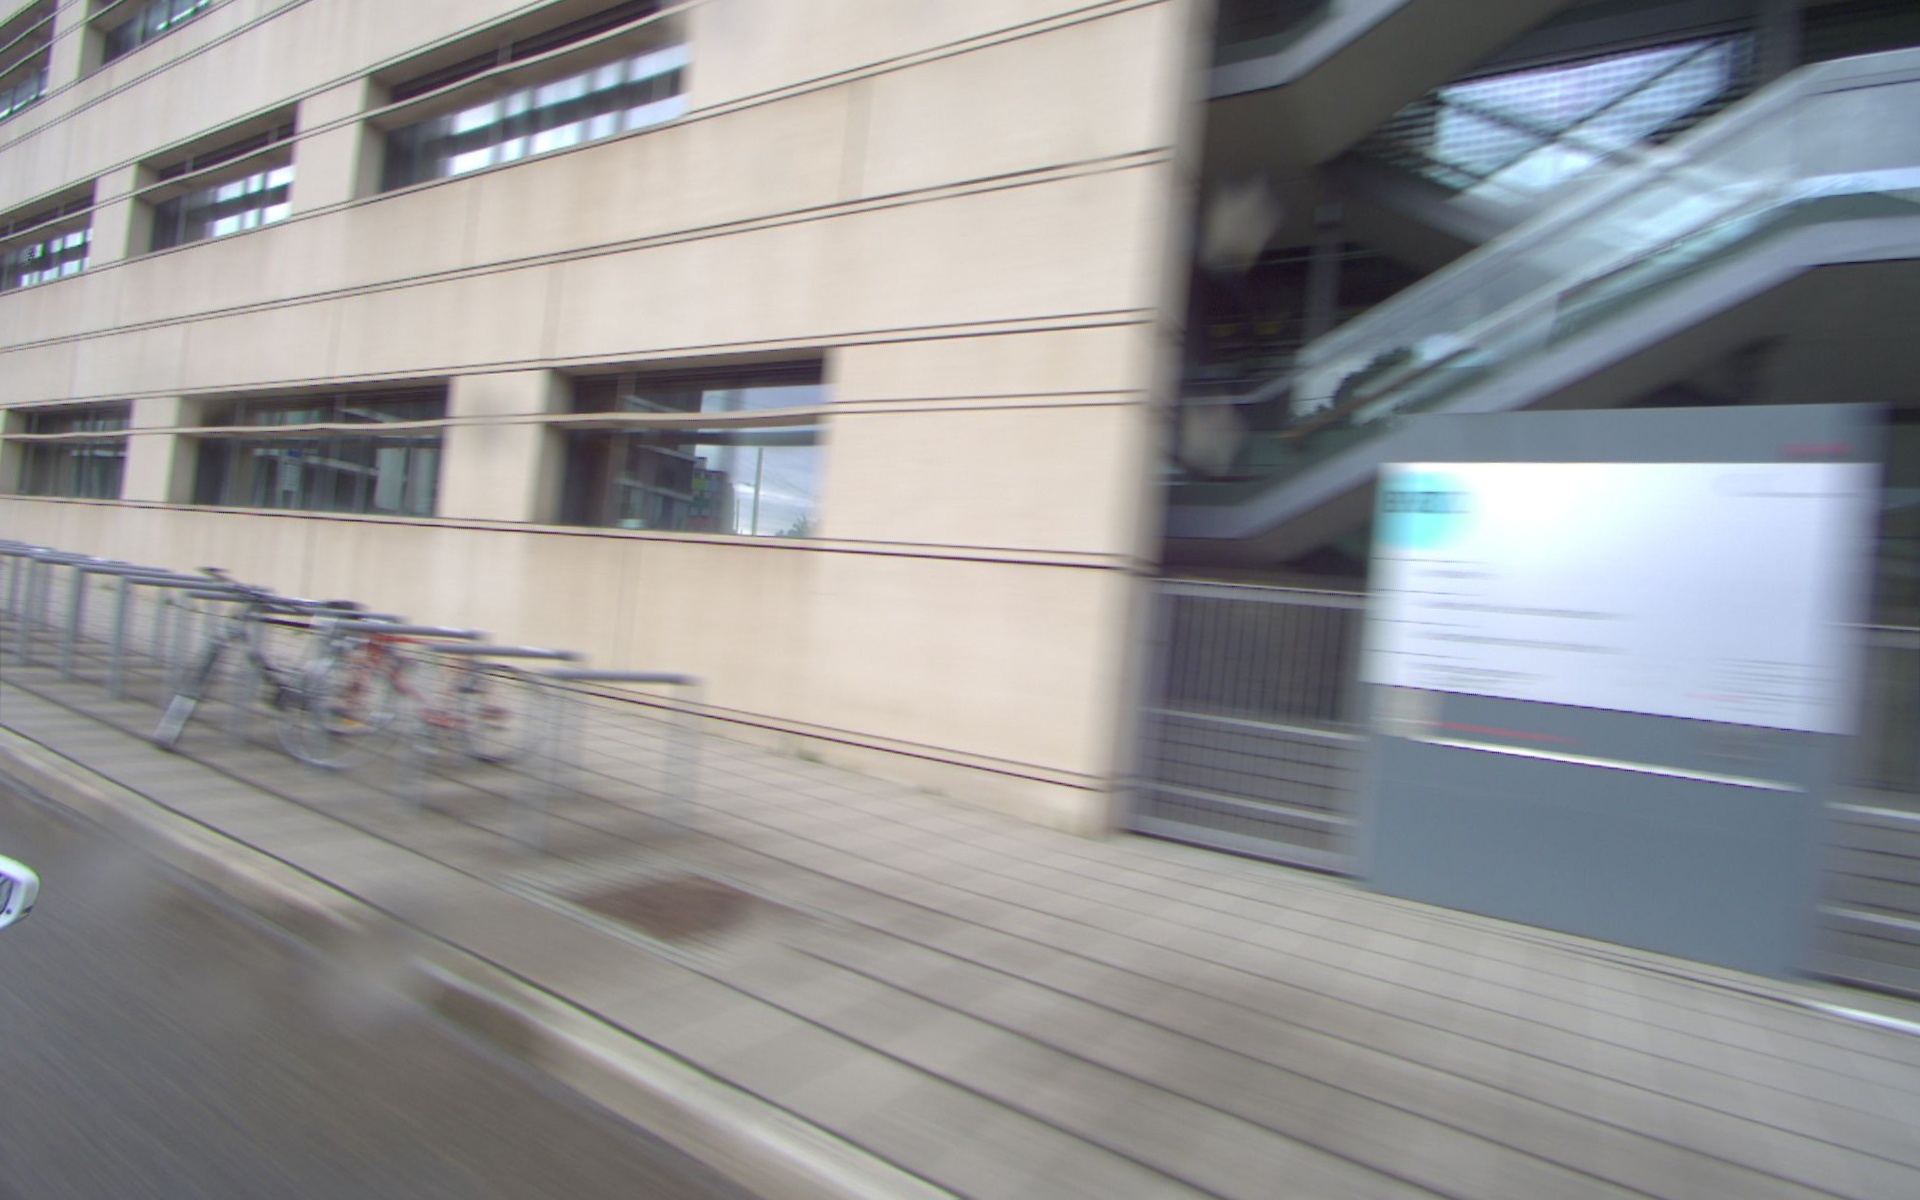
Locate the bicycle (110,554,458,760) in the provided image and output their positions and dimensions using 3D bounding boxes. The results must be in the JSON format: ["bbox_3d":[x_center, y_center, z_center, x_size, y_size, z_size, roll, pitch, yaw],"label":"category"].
[{"bbox_3d":[-4.376,0.388,6.674,0.648,1.132,1.734,7,-1,26],"label":"bicycle"}]

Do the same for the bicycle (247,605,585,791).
[{"bbox_3d":[-3.393,0.614,6.466,0.648,0.964,1.763,7,-1,28],"label":"bicycle"}]
